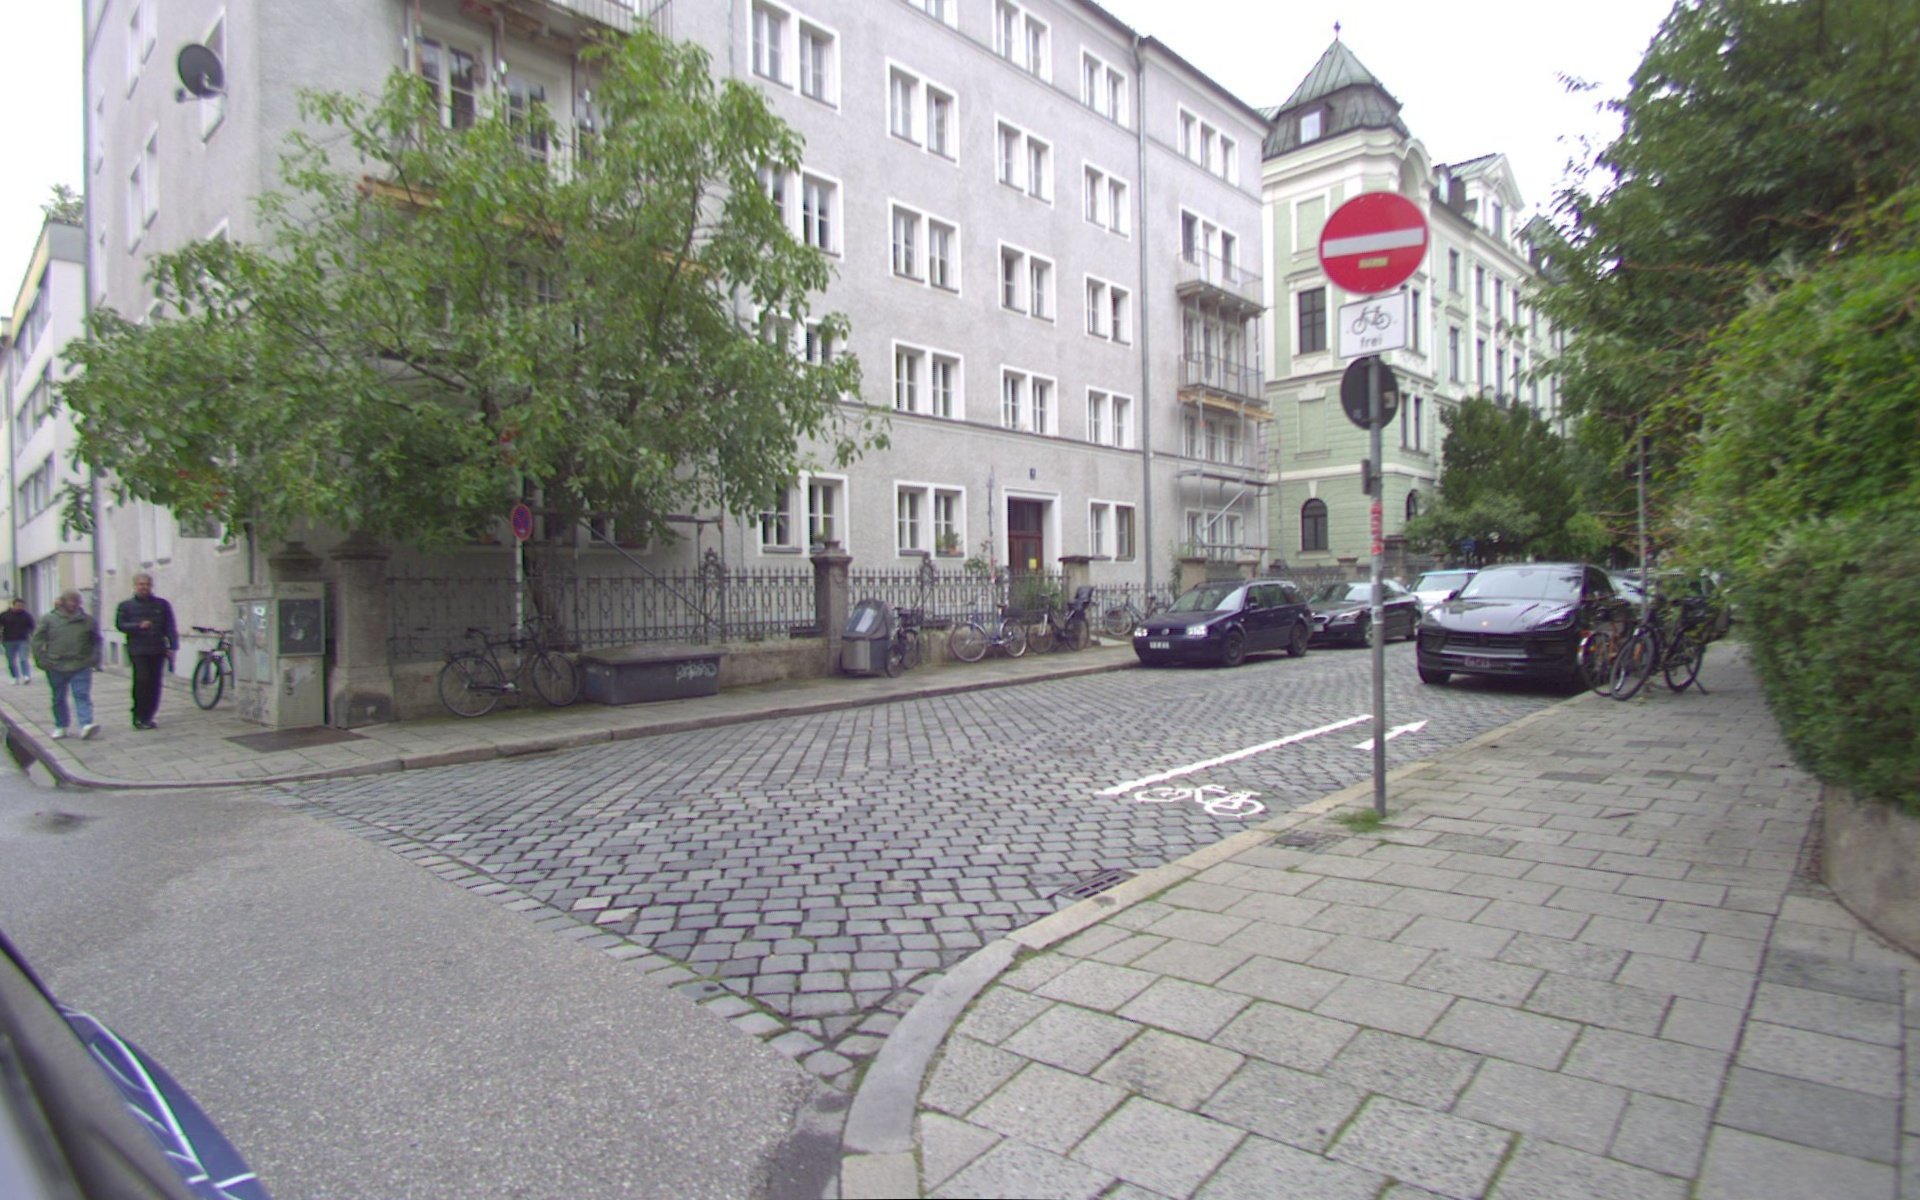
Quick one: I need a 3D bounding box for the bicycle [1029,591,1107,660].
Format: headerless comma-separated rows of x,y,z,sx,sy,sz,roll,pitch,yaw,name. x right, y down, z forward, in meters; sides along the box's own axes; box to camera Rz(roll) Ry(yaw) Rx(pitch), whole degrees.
2.124,0.475,19.641,1.827,1.283,0.412,0,-1,-44,bicycle

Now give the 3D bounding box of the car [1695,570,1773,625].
20.656,-0.103,26.975,1.482,1.386,3.444,0,1,40,car

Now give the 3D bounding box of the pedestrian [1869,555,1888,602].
38.466,-0.897,42.394,0.535,1.963,0.480,-1,1,37,pedestrian

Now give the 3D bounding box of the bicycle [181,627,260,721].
-9.477,0.913,12.948,1.702,1.103,0.426,-1,1,42,bicycle

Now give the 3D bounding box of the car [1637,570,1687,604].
32.910,-0.628,47.441,1.592,1.475,3.482,-1,1,40,car

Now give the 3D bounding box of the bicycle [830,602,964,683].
-0.940,0.626,15.992,0.988,1.165,2.464,-1,0,28,bicycle

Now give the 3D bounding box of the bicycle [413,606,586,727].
-5.284,0.720,11.718,0.432,1.270,1.787,-1,0,42,bicycle

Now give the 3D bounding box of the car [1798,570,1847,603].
39.628,-0.642,46.472,1.496,1.408,3.848,-1,1,43,car

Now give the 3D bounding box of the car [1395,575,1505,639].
12.869,0.154,26.478,1.588,1.533,3.607,-1,1,43,car

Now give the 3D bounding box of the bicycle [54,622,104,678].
-19.825,1.109,22.759,1.495,1.203,0.445,-1,1,34,bicycle

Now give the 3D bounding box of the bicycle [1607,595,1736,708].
7.534,0.510,10.696,1.749,1.080,0.349,-2,2,-27,bicycle

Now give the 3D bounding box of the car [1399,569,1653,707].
7.667,0.370,13.512,2.018,1.533,4.231,1,2,43,car

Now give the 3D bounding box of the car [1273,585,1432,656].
8.576,0.393,21.942,1.845,1.336,4.055,-1,1,43,car

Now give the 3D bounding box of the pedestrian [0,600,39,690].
-19.123,0.900,20.348,0.841,1.740,0.712,-1,4,43,pedestrian

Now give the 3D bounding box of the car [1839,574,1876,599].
53.326,-0.824,60.109,1.496,1.408,3.848,-1,1,43,car

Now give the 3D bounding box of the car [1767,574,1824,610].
31.332,-0.299,37.934,1.521,1.256,3.353,-1,1,41,car

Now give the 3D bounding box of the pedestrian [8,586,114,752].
-9.800,0.721,11.036,0.859,1.690,0.682,-1,2,41,pedestrian

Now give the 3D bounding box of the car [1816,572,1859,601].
45.137,-0.719,52.010,1.496,1.408,3.848,-1,1,43,car

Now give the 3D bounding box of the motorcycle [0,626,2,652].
-36.960,1.501,38.738,1.961,0.981,0.320,-1,1,44,motorcycle

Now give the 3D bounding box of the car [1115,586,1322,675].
4.696,0.472,18.022,1.845,1.336,4.055,-1,1,43,car

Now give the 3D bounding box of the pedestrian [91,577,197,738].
-9.466,0.643,11.748,0.740,1.776,0.684,-2,2,33,pedestrian

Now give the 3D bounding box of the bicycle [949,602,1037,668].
0.615,0.604,18.123,1.827,1.112,0.412,0,-1,-44,bicycle

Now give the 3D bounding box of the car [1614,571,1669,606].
29.242,-0.509,43.401,1.521,1.439,3.353,-1,1,41,car

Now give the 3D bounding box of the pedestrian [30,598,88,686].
-18.608,0.851,20.899,0.841,1.740,0.686,-1,4,43,pedestrian

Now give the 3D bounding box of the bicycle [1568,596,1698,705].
7.323,0.521,10.985,1.749,1.080,0.349,-2,0,-27,bicycle
